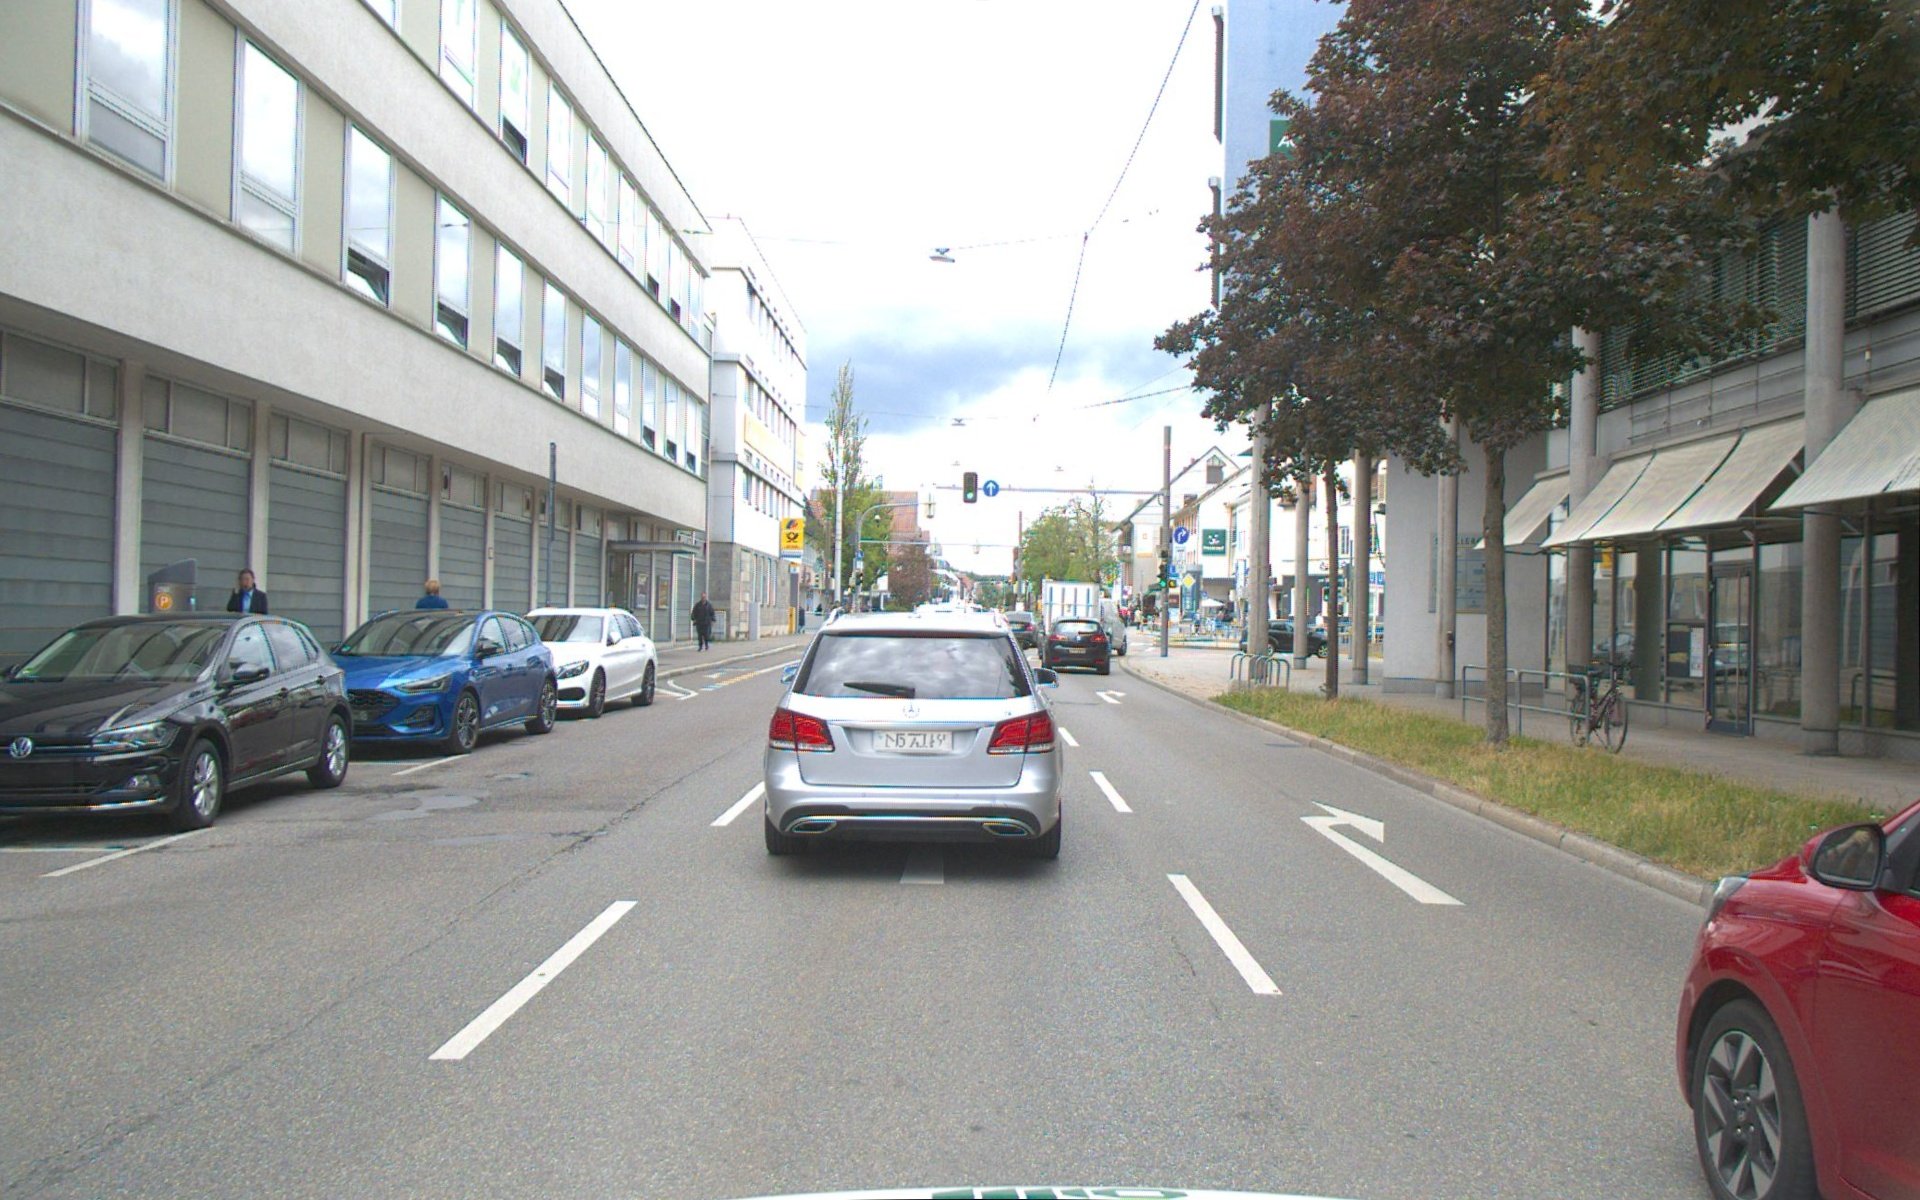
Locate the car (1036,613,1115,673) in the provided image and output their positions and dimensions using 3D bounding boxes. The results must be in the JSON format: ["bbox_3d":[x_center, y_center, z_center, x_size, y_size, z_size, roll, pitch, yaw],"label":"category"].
[{"bbox_3d":[2.998,1.096,43.590,1.699,1.435,3.999,1,0,-1],"label":"car"}]

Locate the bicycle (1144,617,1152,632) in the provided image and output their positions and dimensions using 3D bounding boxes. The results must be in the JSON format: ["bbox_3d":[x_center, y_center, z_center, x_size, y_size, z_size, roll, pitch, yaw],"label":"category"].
[{"bbox_3d":[14.050,1.800,123.616,0.438,1.110,2.149,1,-1,2],"label":"bicycle"}]

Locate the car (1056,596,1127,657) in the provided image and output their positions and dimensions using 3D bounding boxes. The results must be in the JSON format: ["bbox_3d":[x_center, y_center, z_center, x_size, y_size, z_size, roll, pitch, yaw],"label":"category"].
[{"bbox_3d":[4.743,0.938,58.970,1.838,1.979,4.910,3,0,12],"label":"car"}]

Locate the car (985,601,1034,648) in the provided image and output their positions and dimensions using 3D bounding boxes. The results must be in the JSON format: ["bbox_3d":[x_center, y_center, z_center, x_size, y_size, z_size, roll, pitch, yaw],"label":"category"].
[{"bbox_3d":[1.981,0.965,67.144,1.791,1.816,3.999,1,0,-1],"label":"car"}]

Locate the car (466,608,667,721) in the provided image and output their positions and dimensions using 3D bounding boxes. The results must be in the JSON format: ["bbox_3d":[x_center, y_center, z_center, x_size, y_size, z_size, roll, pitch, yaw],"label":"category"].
[{"bbox_3d":[-5.551,0.860,23.918,1.635,1.459,4.554,-1,0,2],"label":"car"}]

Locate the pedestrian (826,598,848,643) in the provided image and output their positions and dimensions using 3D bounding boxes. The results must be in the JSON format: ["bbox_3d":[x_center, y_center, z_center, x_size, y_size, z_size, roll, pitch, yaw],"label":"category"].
[{"bbox_3d":[-4.902,0.808,65.979,0.634,1.748,0.783,2,0,8],"label":"pedestrian"}]

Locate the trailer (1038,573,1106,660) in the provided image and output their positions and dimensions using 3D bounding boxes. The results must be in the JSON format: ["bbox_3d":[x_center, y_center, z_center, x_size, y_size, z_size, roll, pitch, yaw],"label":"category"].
[{"bbox_3d":[3.718,0.552,54.446,1.838,2.658,4.326,3,-1,7],"label":"trailer"}]

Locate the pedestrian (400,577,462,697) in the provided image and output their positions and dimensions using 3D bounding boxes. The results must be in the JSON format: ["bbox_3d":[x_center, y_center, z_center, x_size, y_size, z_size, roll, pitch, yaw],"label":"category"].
[{"bbox_3d":[-7.859,0.543,24.623,0.577,1.748,1.055,1,-1,-1],"label":"pedestrian"}]

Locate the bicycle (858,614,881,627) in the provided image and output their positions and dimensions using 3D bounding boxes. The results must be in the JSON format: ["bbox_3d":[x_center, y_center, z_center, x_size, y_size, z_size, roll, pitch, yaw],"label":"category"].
[{"bbox_3d":[-7.966,1.829,145.871,1.902,1.047,0.529,2,-1,-9],"label":"bicycle"}]

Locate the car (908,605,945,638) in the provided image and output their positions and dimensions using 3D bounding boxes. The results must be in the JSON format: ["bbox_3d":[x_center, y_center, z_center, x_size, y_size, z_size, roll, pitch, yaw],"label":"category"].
[{"bbox_3d":[-1.743,1.116,86.602,1.739,1.660,4.768,0,0,1],"label":"car"}]

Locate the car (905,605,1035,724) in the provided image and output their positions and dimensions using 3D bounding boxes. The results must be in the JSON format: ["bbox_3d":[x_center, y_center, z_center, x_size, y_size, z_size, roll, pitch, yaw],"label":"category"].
[{"bbox_3d":[0.076,0.859,23.857,1.699,1.534,3.998,1,0,-2],"label":"car"}]

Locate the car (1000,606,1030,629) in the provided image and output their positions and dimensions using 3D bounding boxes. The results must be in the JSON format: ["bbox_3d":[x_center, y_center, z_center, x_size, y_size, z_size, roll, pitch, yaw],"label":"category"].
[{"bbox_3d":[3.479,1.093,105.091,1.699,1.435,3.999,1,0,-1],"label":"car"}]

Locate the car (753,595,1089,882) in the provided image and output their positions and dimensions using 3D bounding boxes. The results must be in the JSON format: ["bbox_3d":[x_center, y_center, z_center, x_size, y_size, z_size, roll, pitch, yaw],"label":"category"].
[{"bbox_3d":[-0.256,0.765,11.056,1.808,1.534,4.170,1,0,-1],"label":"car"}]

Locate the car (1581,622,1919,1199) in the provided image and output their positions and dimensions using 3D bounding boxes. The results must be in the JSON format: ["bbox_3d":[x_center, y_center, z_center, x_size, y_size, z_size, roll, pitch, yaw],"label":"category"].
[{"bbox_3d":[2.874,0.845,3.322,1.664,1.477,3.999,3,0,0],"label":"car"}]

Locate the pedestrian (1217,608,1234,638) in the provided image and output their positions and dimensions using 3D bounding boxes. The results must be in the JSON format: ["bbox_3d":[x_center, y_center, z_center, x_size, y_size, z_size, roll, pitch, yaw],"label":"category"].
[{"bbox_3d":[15.280,1.329,95.198,0.699,1.748,0.640,1,-1,-42],"label":"pedestrian"}]

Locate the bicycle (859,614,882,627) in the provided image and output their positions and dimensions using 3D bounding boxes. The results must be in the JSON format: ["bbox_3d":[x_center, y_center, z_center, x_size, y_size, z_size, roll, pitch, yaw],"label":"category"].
[{"bbox_3d":[-7.839,1.827,145.210,1.902,1.047,0.529,2,-1,-9],"label":"bicycle"}]

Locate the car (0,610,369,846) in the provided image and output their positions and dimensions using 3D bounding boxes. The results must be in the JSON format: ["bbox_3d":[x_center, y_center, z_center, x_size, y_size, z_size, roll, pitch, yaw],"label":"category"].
[{"bbox_3d":[-5.869,0.811,12.231,1.681,1.450,3.869,-1,0,-2],"label":"car"}]

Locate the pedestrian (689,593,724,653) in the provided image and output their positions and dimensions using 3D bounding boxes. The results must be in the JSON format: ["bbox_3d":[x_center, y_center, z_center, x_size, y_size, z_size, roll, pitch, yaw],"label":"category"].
[{"bbox_3d":[-7.583,0.673,49.478,0.844,1.748,1.031,2,-1,-2],"label":"pedestrian"}]

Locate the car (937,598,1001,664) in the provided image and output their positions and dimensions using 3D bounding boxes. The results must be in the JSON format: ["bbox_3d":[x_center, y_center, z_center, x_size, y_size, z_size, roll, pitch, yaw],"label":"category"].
[{"bbox_3d":[0.207,0.865,47.342,1.699,1.790,3.999,1,0,-1],"label":"car"}]

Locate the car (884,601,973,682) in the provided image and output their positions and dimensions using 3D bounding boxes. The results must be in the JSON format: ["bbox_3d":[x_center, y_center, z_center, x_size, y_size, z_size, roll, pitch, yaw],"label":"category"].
[{"bbox_3d":[-0.650,0.816,33.751,1.699,1.534,3.999,1,0,-1],"label":"car"}]

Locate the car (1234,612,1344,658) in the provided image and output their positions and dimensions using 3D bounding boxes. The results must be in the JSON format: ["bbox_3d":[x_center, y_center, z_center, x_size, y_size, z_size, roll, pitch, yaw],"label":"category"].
[{"bbox_3d":[12.708,1.341,63.909,3.723,1.699,1.921,1,-1,-15],"label":"car"}]

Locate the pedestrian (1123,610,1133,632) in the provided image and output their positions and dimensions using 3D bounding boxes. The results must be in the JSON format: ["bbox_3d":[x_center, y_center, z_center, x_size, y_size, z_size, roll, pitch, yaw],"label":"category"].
[{"bbox_3d":[13.303,1.639,130.843,0.567,1.695,0.650,2,-1,-6],"label":"pedestrian"}]

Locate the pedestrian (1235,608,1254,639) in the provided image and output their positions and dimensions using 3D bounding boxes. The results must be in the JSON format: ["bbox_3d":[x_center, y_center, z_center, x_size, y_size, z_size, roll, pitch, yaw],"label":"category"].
[{"bbox_3d":[16.353,1.343,95.026,0.775,1.748,0.646,2,0,-21],"label":"pedestrian"}]

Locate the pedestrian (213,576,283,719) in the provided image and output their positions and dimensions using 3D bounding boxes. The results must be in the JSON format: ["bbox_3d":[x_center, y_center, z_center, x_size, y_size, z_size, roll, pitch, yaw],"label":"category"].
[{"bbox_3d":[-8.873,0.586,20.625,0.577,1.748,0.649,1,-1,-2],"label":"pedestrian"}]

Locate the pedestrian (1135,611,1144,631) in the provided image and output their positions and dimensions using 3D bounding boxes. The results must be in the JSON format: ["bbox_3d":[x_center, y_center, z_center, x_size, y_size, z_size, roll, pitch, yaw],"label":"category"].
[{"bbox_3d":[13.831,1.594,127.348,0.567,1.495,0.650,2,-1,-7],"label":"pedestrian"}]

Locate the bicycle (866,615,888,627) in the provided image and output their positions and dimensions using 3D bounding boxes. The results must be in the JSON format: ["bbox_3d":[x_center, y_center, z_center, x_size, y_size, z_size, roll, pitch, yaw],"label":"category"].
[{"bbox_3d":[-7.496,1.878,149.192,1.902,1.047,0.529,2,-1,-9],"label":"bicycle"}]

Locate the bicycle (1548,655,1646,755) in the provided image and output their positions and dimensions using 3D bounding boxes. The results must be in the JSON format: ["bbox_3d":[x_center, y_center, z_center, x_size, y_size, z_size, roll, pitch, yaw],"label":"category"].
[{"bbox_3d":[7.776,1.252,20.275,0.353,1.105,2.027,2,-1,-1],"label":"bicycle"}]

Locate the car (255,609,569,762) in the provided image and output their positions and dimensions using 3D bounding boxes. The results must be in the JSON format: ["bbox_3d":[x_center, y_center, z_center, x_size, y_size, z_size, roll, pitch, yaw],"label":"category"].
[{"bbox_3d":[-5.754,0.831,17.962,1.777,1.451,4.266,-1,0,3],"label":"car"}]
